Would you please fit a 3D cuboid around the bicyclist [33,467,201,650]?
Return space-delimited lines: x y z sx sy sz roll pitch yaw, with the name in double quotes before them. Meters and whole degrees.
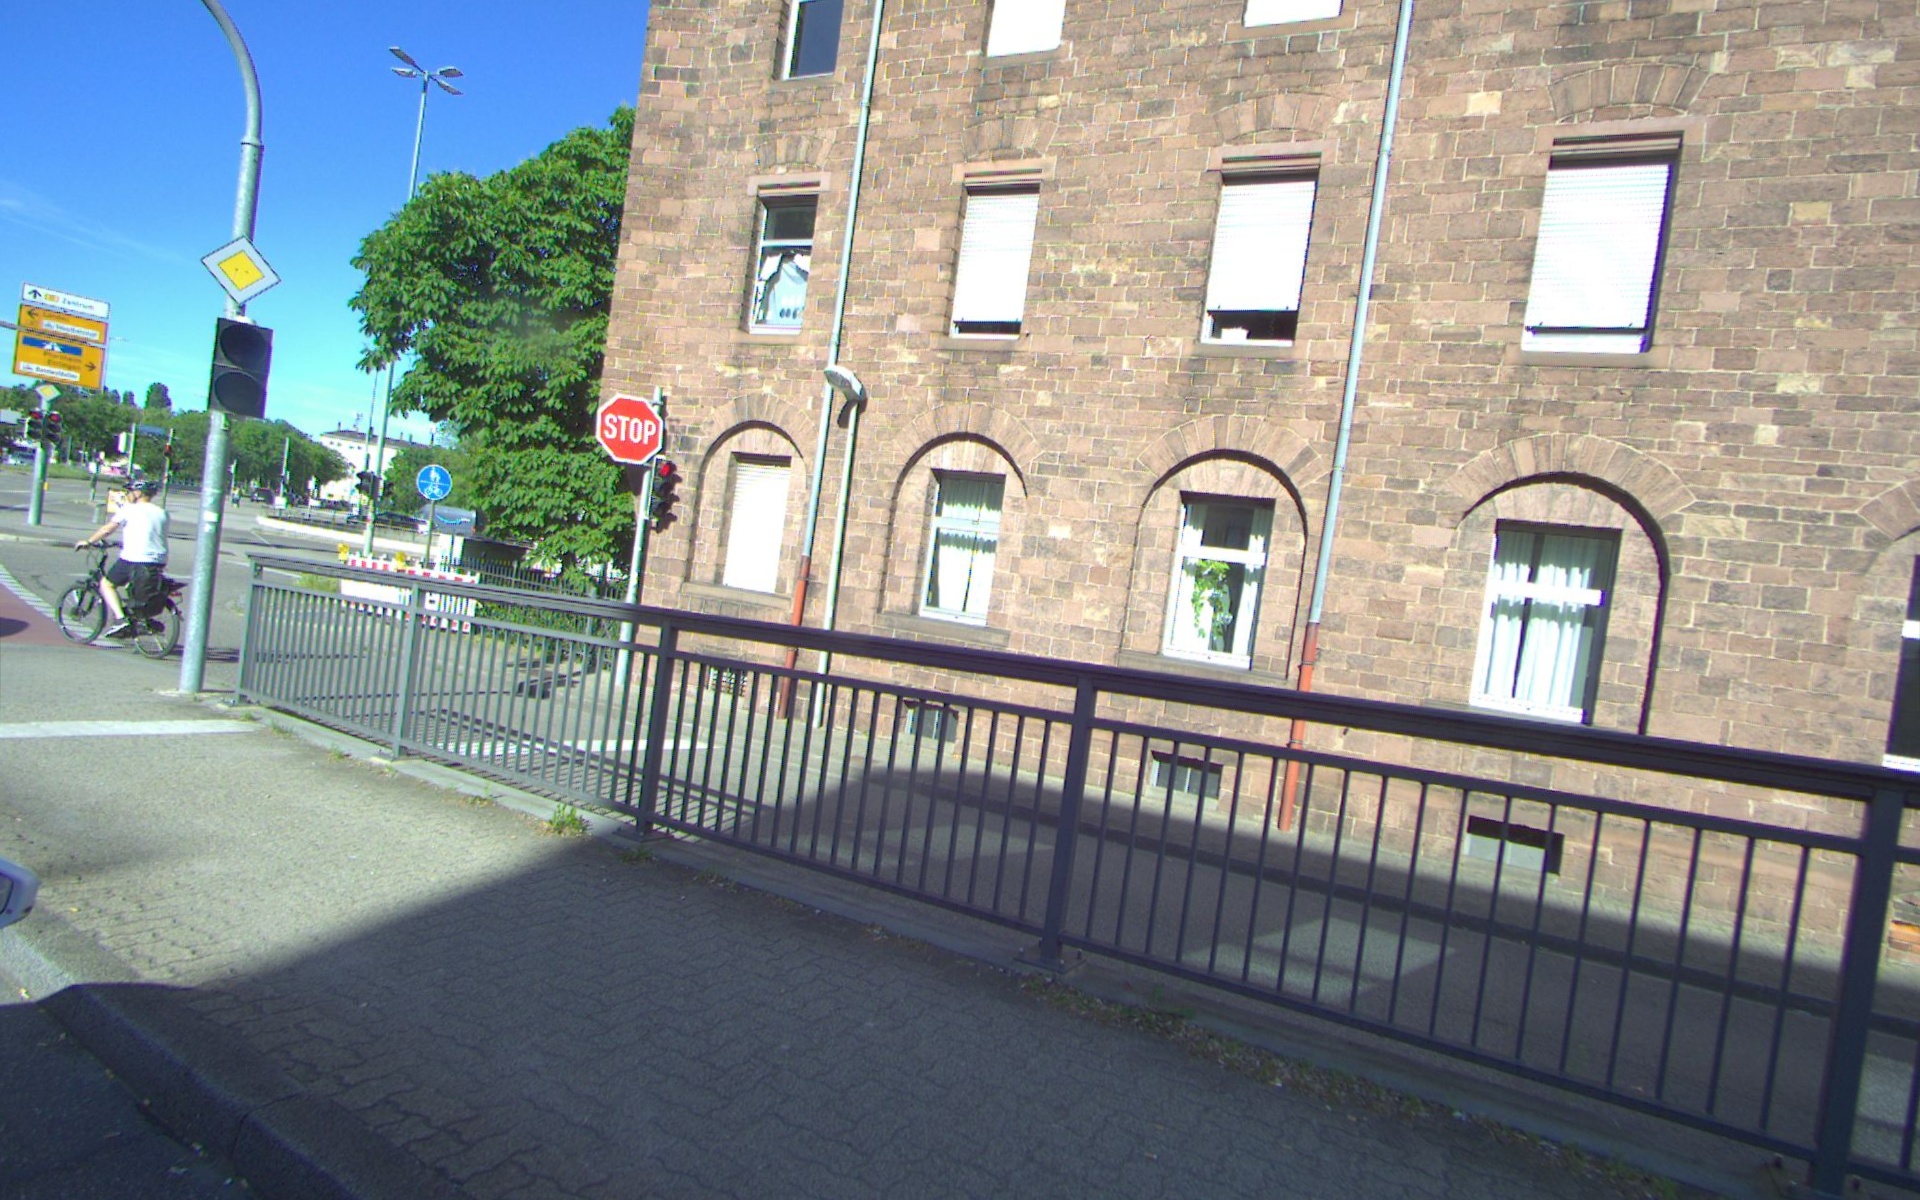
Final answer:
"bicyclist" -8.895 -0.425 10.629 1.065 1.725 0.802 8 0 24

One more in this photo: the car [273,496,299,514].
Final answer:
"car" -81.423 -11.502 121.548 1.977 1.816 3.971 7 1 -27

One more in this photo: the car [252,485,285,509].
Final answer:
"car" -71.938 -10.684 104.709 1.975 1.814 3.978 8 -2 -24

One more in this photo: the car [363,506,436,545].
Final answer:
"car" -40.138 -5.297 72.127 3.938 2.037 1.995 8 -2 -15

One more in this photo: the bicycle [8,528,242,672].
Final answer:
"bicycle" -8.788 -0.008 10.572 2.358 1.124 0.802 9 0 23

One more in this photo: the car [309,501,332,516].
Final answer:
"car" -88.983 -12.742 140.012 1.975 1.660 3.975 7 1 -24

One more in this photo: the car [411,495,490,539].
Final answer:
"car" -40.394 -6.540 79.809 4.797 2.637 2.262 7 -1 -1
